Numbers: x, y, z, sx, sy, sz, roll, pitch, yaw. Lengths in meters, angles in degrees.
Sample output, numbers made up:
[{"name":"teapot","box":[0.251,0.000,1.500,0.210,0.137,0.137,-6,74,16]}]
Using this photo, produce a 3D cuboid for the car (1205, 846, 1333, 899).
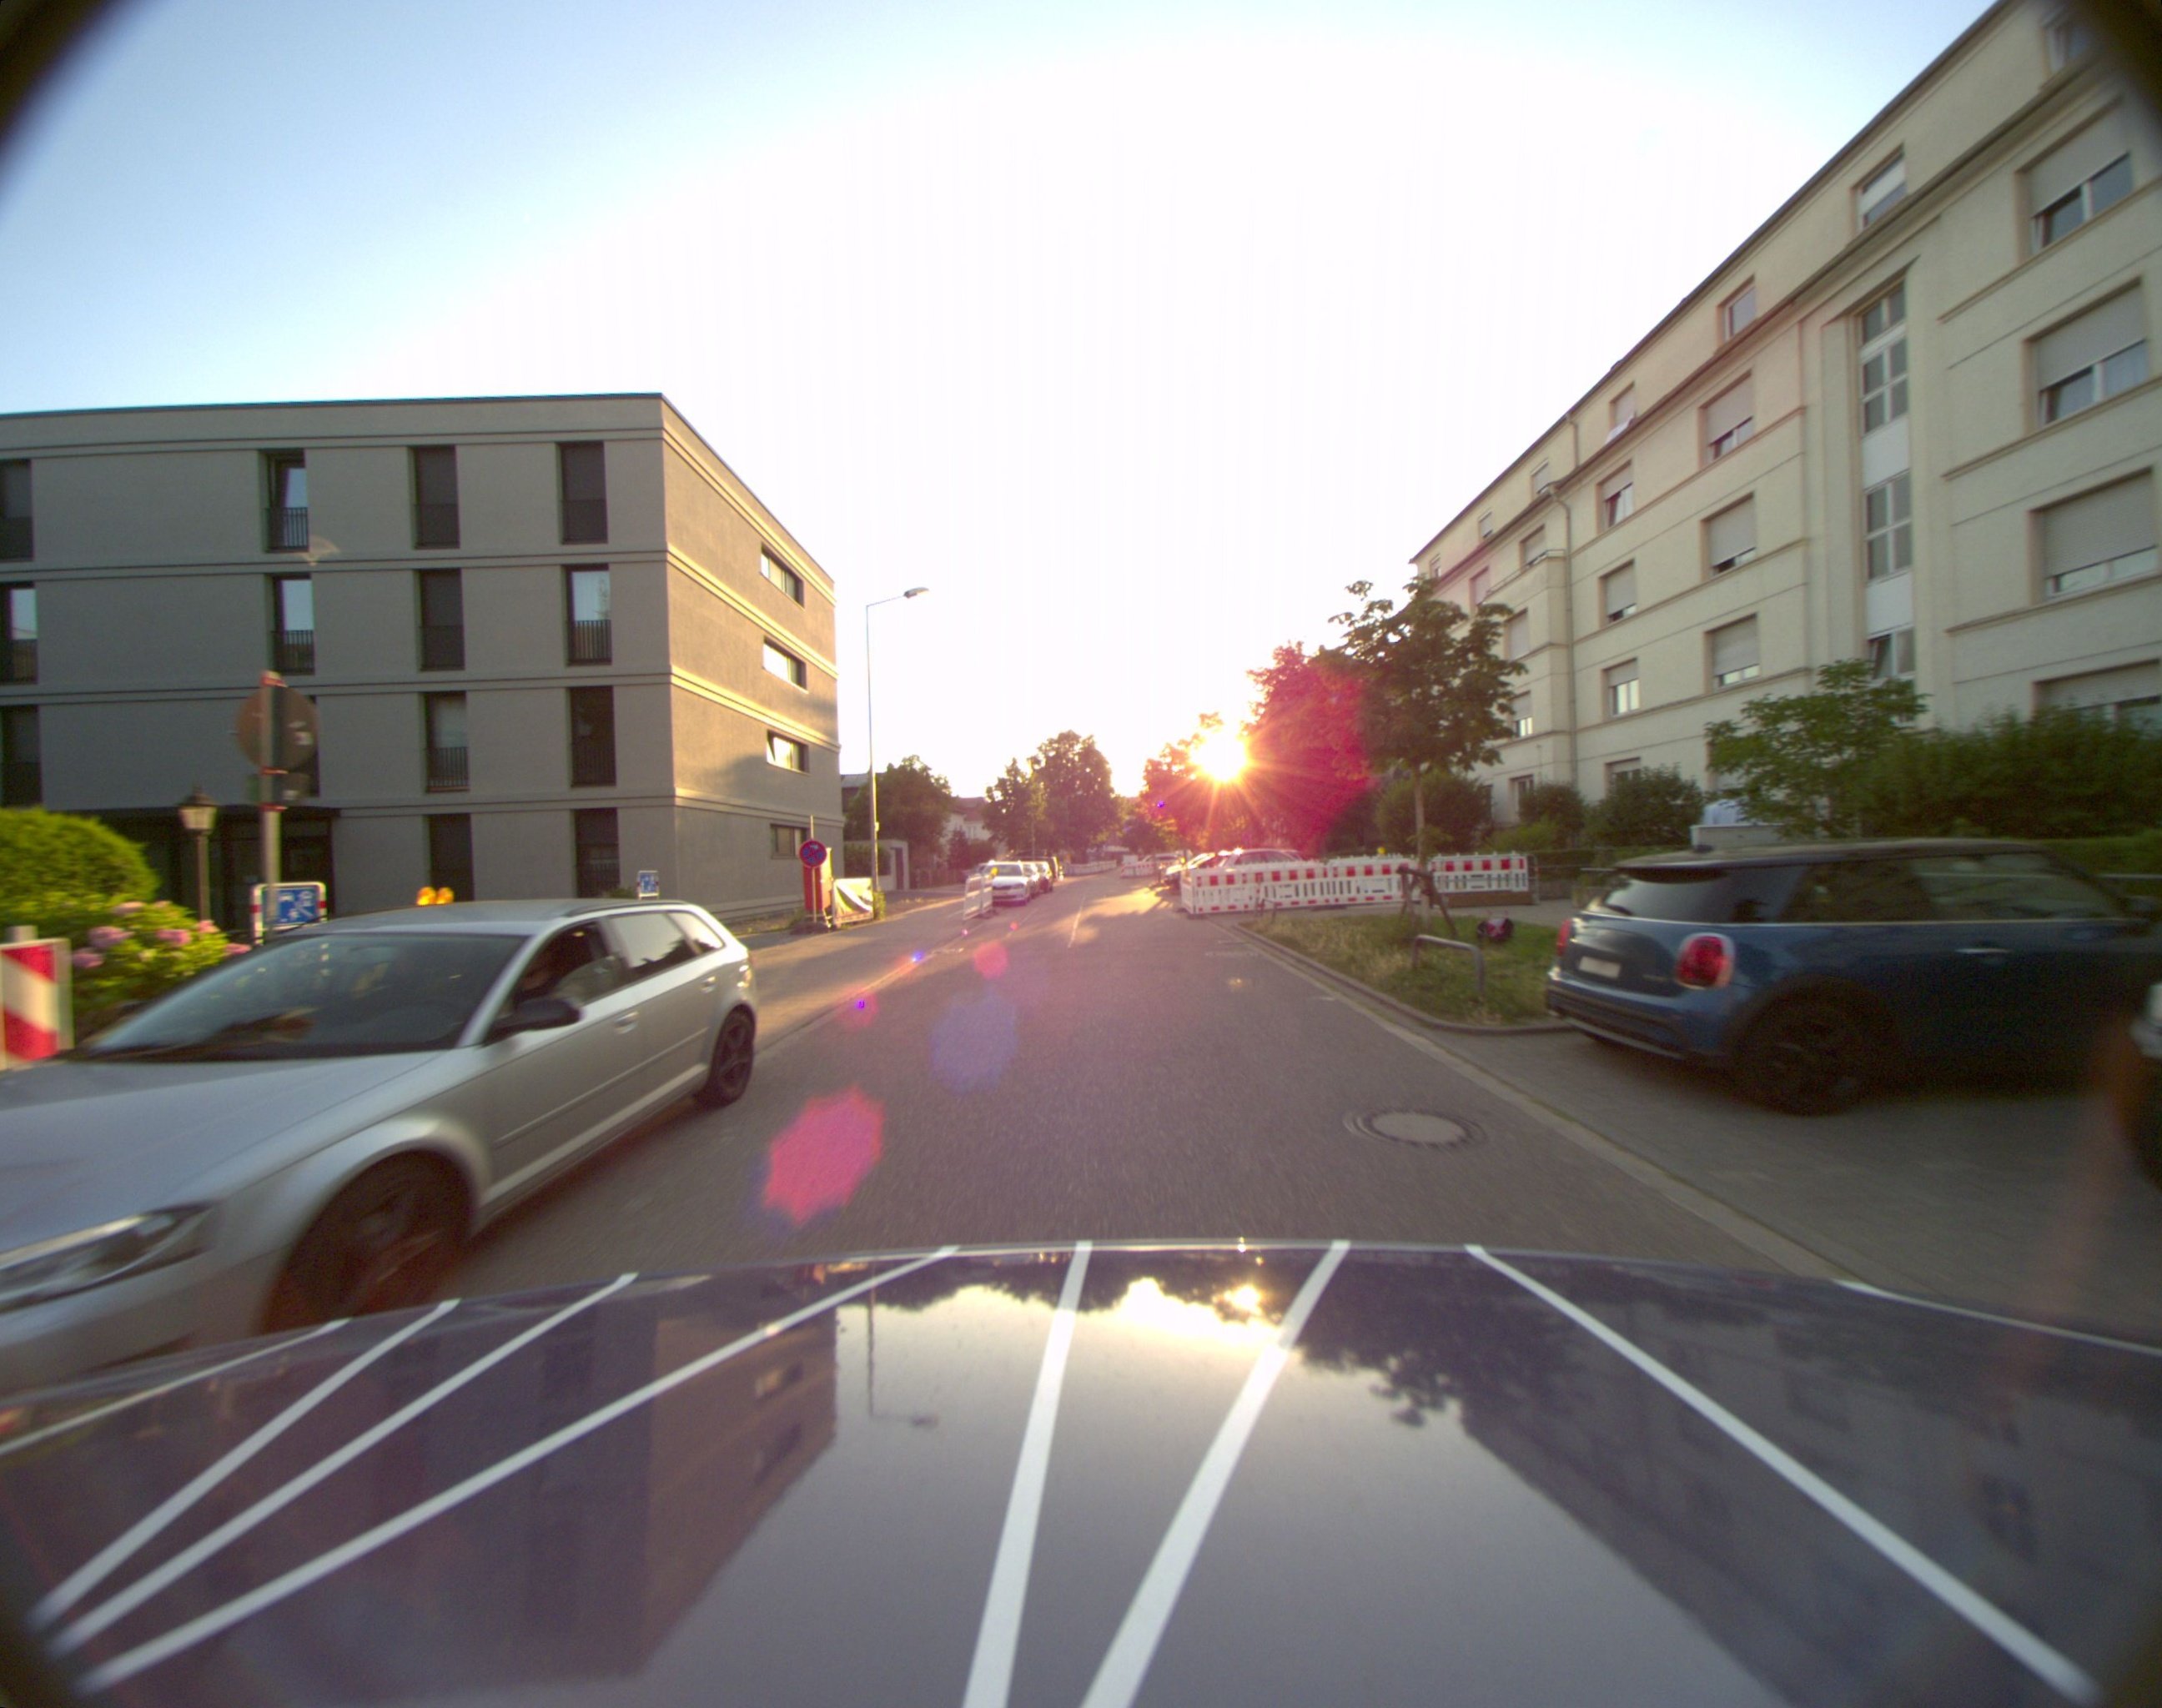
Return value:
[{"name":"car","box":[6.149,0.602,25.141,3.709,1.475,1.728,-4,0,-1]}]

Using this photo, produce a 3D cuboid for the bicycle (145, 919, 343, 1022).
[{"name":"bicycle","box":[-9.251,1.285,8.412,1.897,1.063,0.446,-2,1,8]}]

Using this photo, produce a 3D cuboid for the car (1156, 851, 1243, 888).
[{"name":"car","box":[5.738,0.750,37.170,3.996,1.533,1.728,-4,0,3]}]

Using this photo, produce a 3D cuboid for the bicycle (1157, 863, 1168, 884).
[{"name":"bicycle","box":[4.471,1.061,41.868,0.448,1.089,1.629,-2,0,1]}]

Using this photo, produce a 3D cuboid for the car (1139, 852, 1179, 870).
[{"name":"car","box":[8.191,0.742,80.085,4.129,1.673,2.001,-2,0,6]}]

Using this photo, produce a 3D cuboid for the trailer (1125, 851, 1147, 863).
[{"name":"trailer","box":[10.504,0.612,145.370,3.682,2.056,2.002,-3,0,15]}]

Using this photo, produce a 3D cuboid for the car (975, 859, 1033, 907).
[{"name":"car","box":[-2.589,0.953,26.294,1.618,1.461,3.996,-2,0,-1]}]

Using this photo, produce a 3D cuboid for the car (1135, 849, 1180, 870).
[{"name":"car","box":[8.328,0.615,82.794,4.785,2.057,2.001,-2,0,6]}]

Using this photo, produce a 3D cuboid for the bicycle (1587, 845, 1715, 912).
[{"name":"bicycle","box":[11.185,0.477,14.946,2.033,1.179,0.540,-3,0,2]}]

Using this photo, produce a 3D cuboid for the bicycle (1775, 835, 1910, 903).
[{"name":"bicycle","box":[14.737,0.285,14.728,2.033,1.179,0.490,-3,0,2]}]

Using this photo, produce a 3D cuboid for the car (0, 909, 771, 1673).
[{"name":"car","box":[-3.221,1.117,3.524,1.780,1.388,4.107,-2,0,1]}]

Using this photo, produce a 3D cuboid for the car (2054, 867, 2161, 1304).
[{"name":"car","box":[5.524,0.700,2.029,3.687,1.475,1.728,-3,0,-2]}]

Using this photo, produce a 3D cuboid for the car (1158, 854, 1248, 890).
[{"name":"car","box":[5.569,0.812,34.926,3.851,1.376,1.607,-4,0,2]}]

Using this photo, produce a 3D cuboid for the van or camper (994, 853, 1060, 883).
[{"name":"van or camper","box":[-3.869,1.017,55.349,4.660,1.942,2.094,-2,0,-2]}]

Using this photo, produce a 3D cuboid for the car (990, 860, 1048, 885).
[{"name":"car","box":[-4.308,1.288,52.908,3.842,1.535,1.629,-2,0,0]}]

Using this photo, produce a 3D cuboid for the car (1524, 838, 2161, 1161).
[{"name":"car","box":[5.086,0.724,4.647,3.686,1.437,1.728,-3,1,2]}]

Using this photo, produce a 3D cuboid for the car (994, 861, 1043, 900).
[{"name":"car","box":[-2.544,1.050,31.702,1.802,1.461,3.843,-2,0,-1]}]

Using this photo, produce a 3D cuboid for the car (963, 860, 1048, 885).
[{"name":"car","box":[-4.462,1.122,45.332,4.829,1.390,1.770,-1,0,2]}]

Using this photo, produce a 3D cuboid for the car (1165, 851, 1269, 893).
[{"name":"car","box":[5.629,0.724,31.919,4.041,1.475,1.728,-4,0,3]}]

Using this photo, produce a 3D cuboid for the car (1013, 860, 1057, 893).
[{"name":"car","box":[-2.174,1.057,36.773,1.745,1.461,3.759,-2,0,2]}]

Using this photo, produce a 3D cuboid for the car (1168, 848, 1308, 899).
[{"name":"car","box":[5.553,0.672,27.207,4.521,1.475,1.727,-4,0,-7]}]

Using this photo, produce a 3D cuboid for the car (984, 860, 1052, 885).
[{"name":"car","box":[-4.009,1.146,48.420,4.064,1.492,1.771,-1,0,4]}]

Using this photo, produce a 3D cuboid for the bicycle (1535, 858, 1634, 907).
[{"name":"bicycle","box":[11.370,0.635,17.186,1.925,0.986,0.360,-3,0,2]}]
